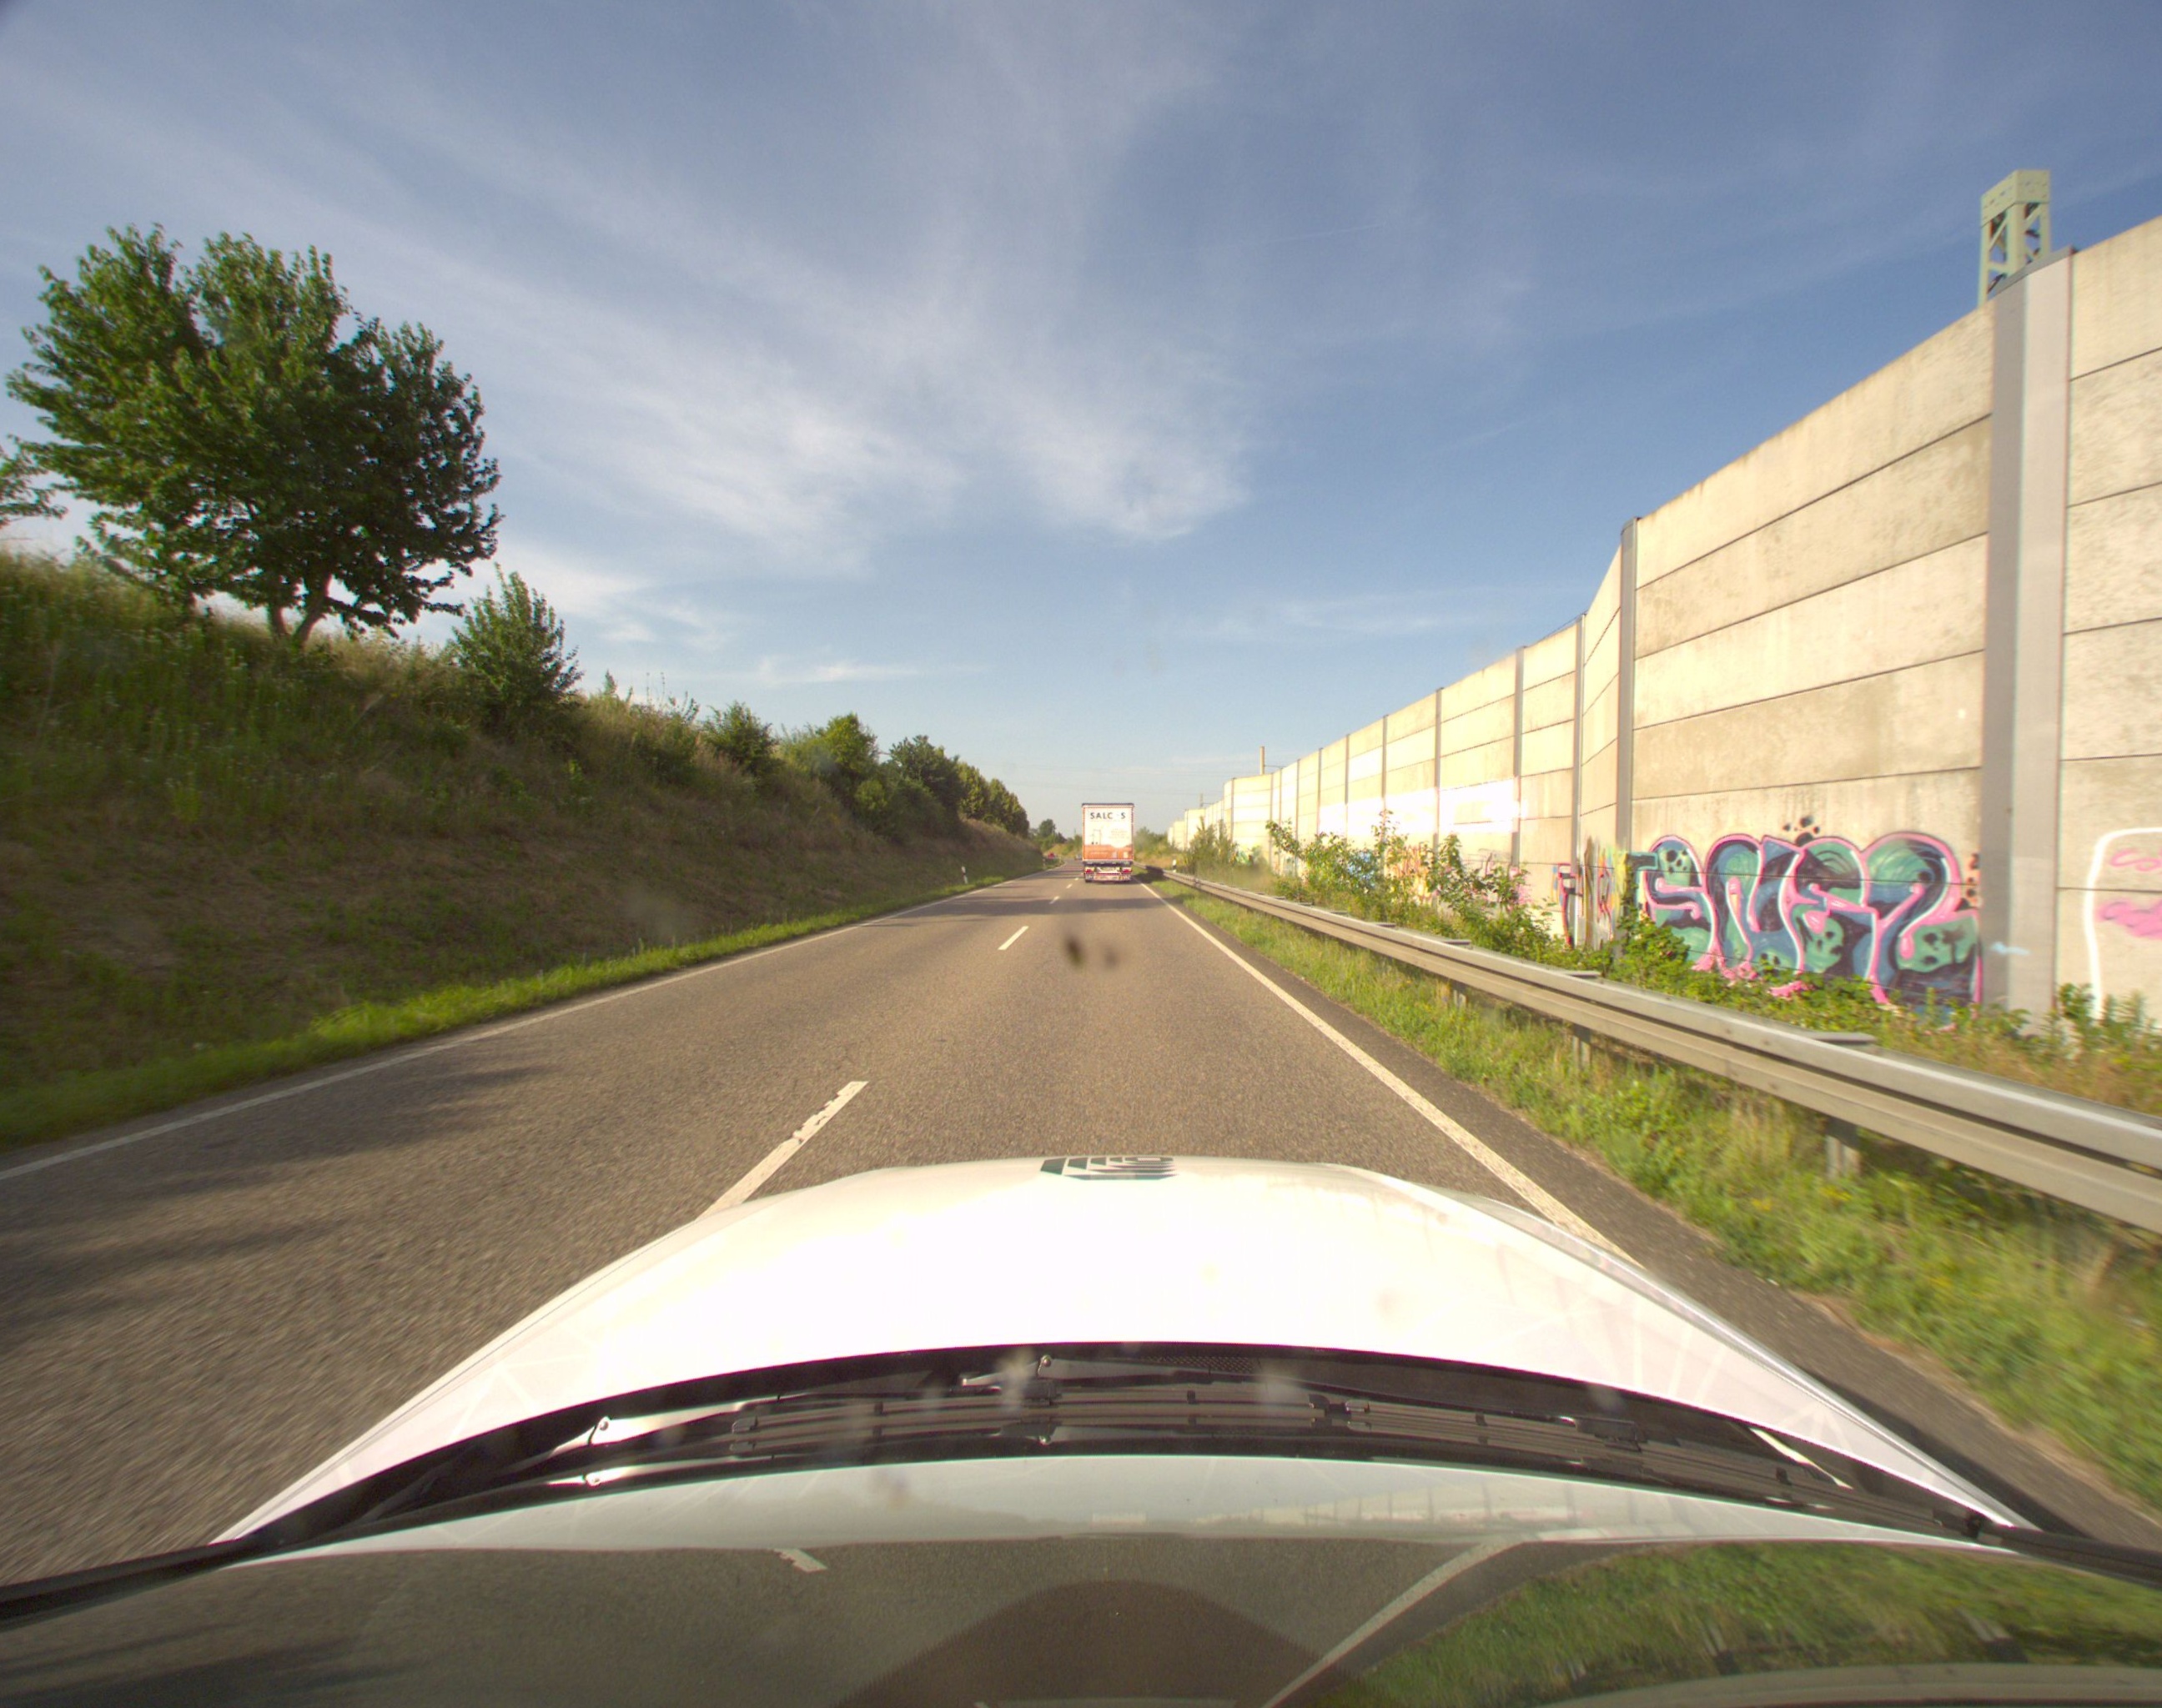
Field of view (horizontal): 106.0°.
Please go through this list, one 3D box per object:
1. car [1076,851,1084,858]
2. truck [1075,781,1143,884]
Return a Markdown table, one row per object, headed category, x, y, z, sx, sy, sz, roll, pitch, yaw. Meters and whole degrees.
| category | x | y | z | sx | sy | sz | roll | pitch | yaw |
| --- | --- | --- | --- | --- | --- | --- | --- | --- | --- |
| car | -0.248 | 0.147 | 205.096 | 2.038 | 1.581 | 4.361 | 0 | 0 | 2 |
| truck | 1.398 | -1.129 | 46.257 | 3.280 | 5.089 | 12.036 | -1 | 1 | 0 |
